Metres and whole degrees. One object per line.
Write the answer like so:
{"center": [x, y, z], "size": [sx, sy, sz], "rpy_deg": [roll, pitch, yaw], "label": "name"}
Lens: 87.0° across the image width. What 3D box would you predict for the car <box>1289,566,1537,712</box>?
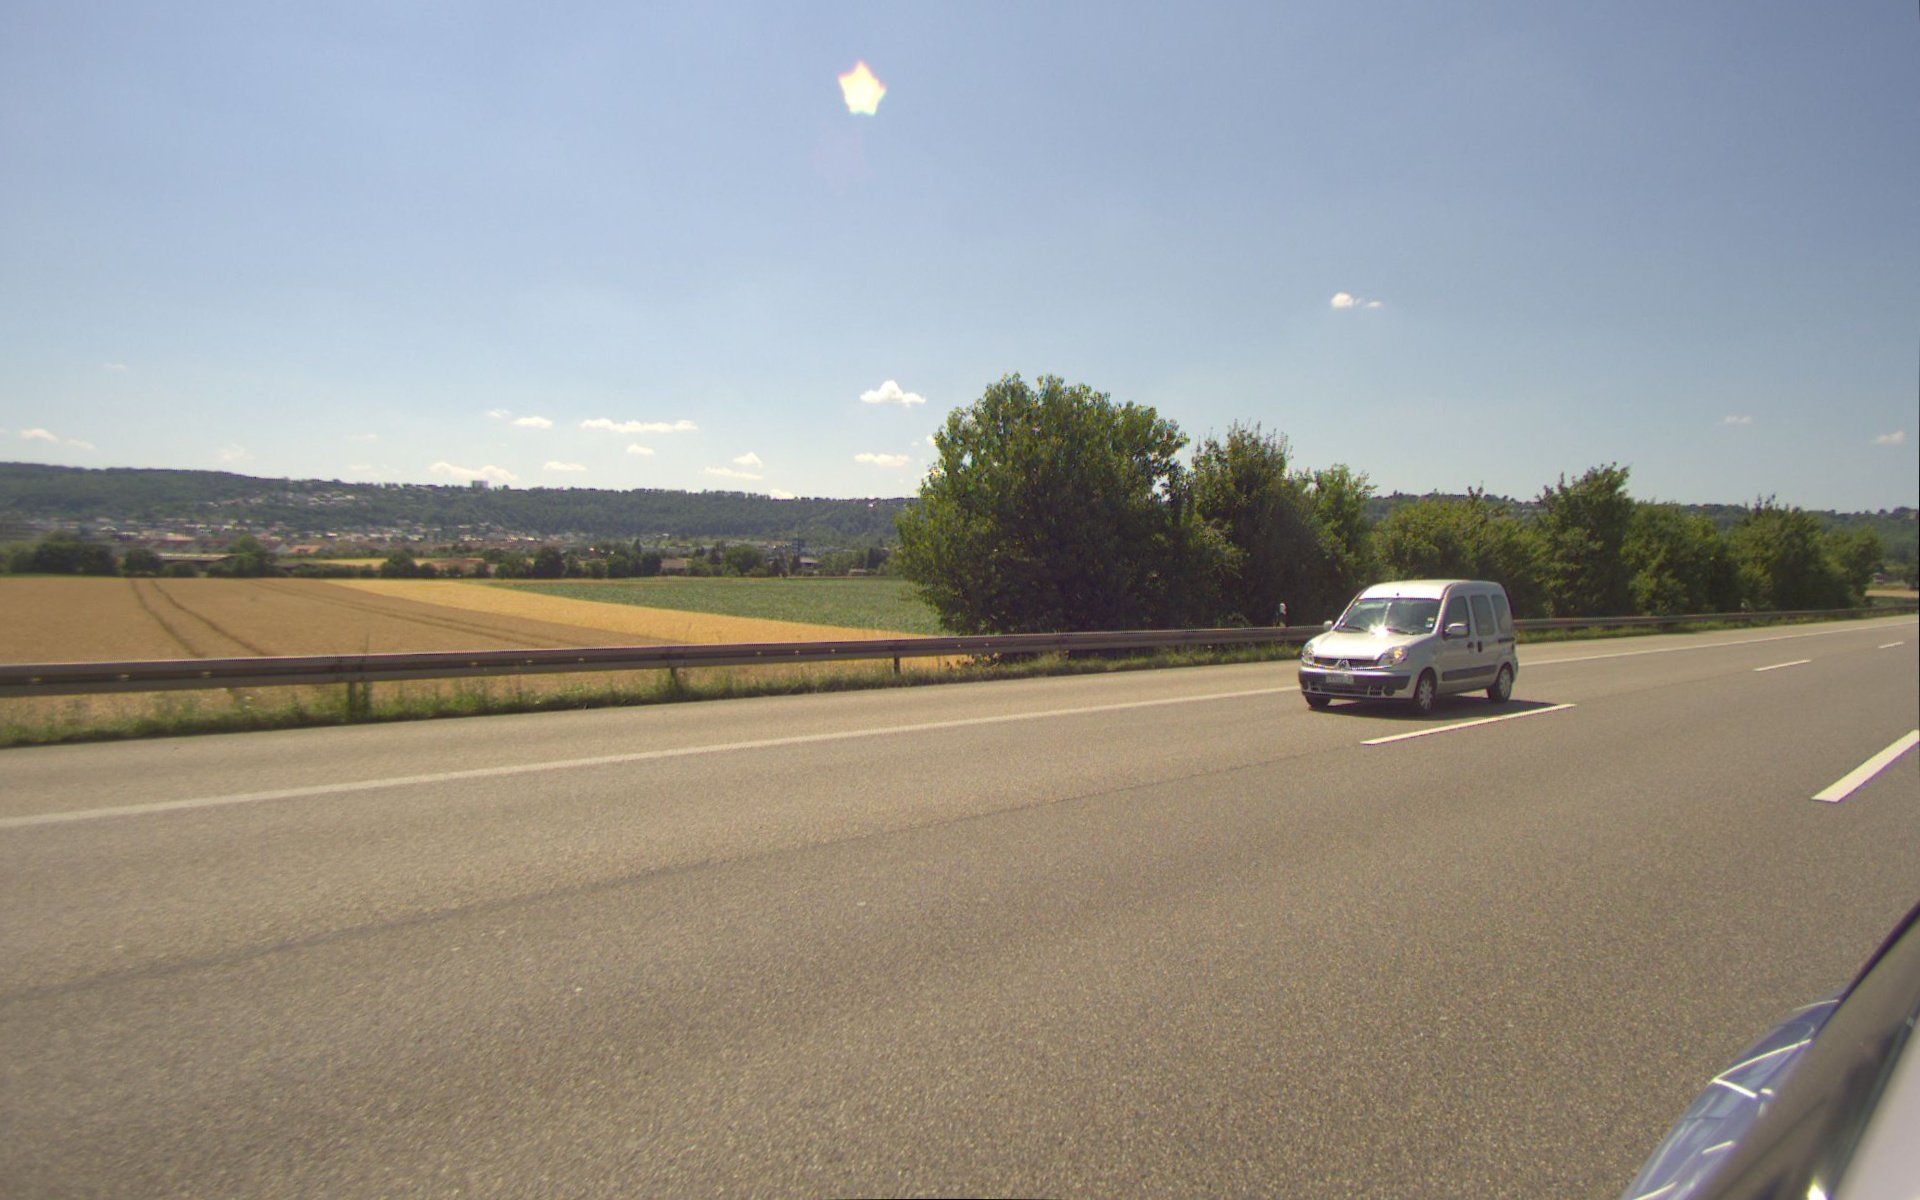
{"center": [6.387, 0.463, 14.094], "size": [3.902, 1.759, 1.630], "rpy_deg": [0, 0, -40], "label": "car"}
